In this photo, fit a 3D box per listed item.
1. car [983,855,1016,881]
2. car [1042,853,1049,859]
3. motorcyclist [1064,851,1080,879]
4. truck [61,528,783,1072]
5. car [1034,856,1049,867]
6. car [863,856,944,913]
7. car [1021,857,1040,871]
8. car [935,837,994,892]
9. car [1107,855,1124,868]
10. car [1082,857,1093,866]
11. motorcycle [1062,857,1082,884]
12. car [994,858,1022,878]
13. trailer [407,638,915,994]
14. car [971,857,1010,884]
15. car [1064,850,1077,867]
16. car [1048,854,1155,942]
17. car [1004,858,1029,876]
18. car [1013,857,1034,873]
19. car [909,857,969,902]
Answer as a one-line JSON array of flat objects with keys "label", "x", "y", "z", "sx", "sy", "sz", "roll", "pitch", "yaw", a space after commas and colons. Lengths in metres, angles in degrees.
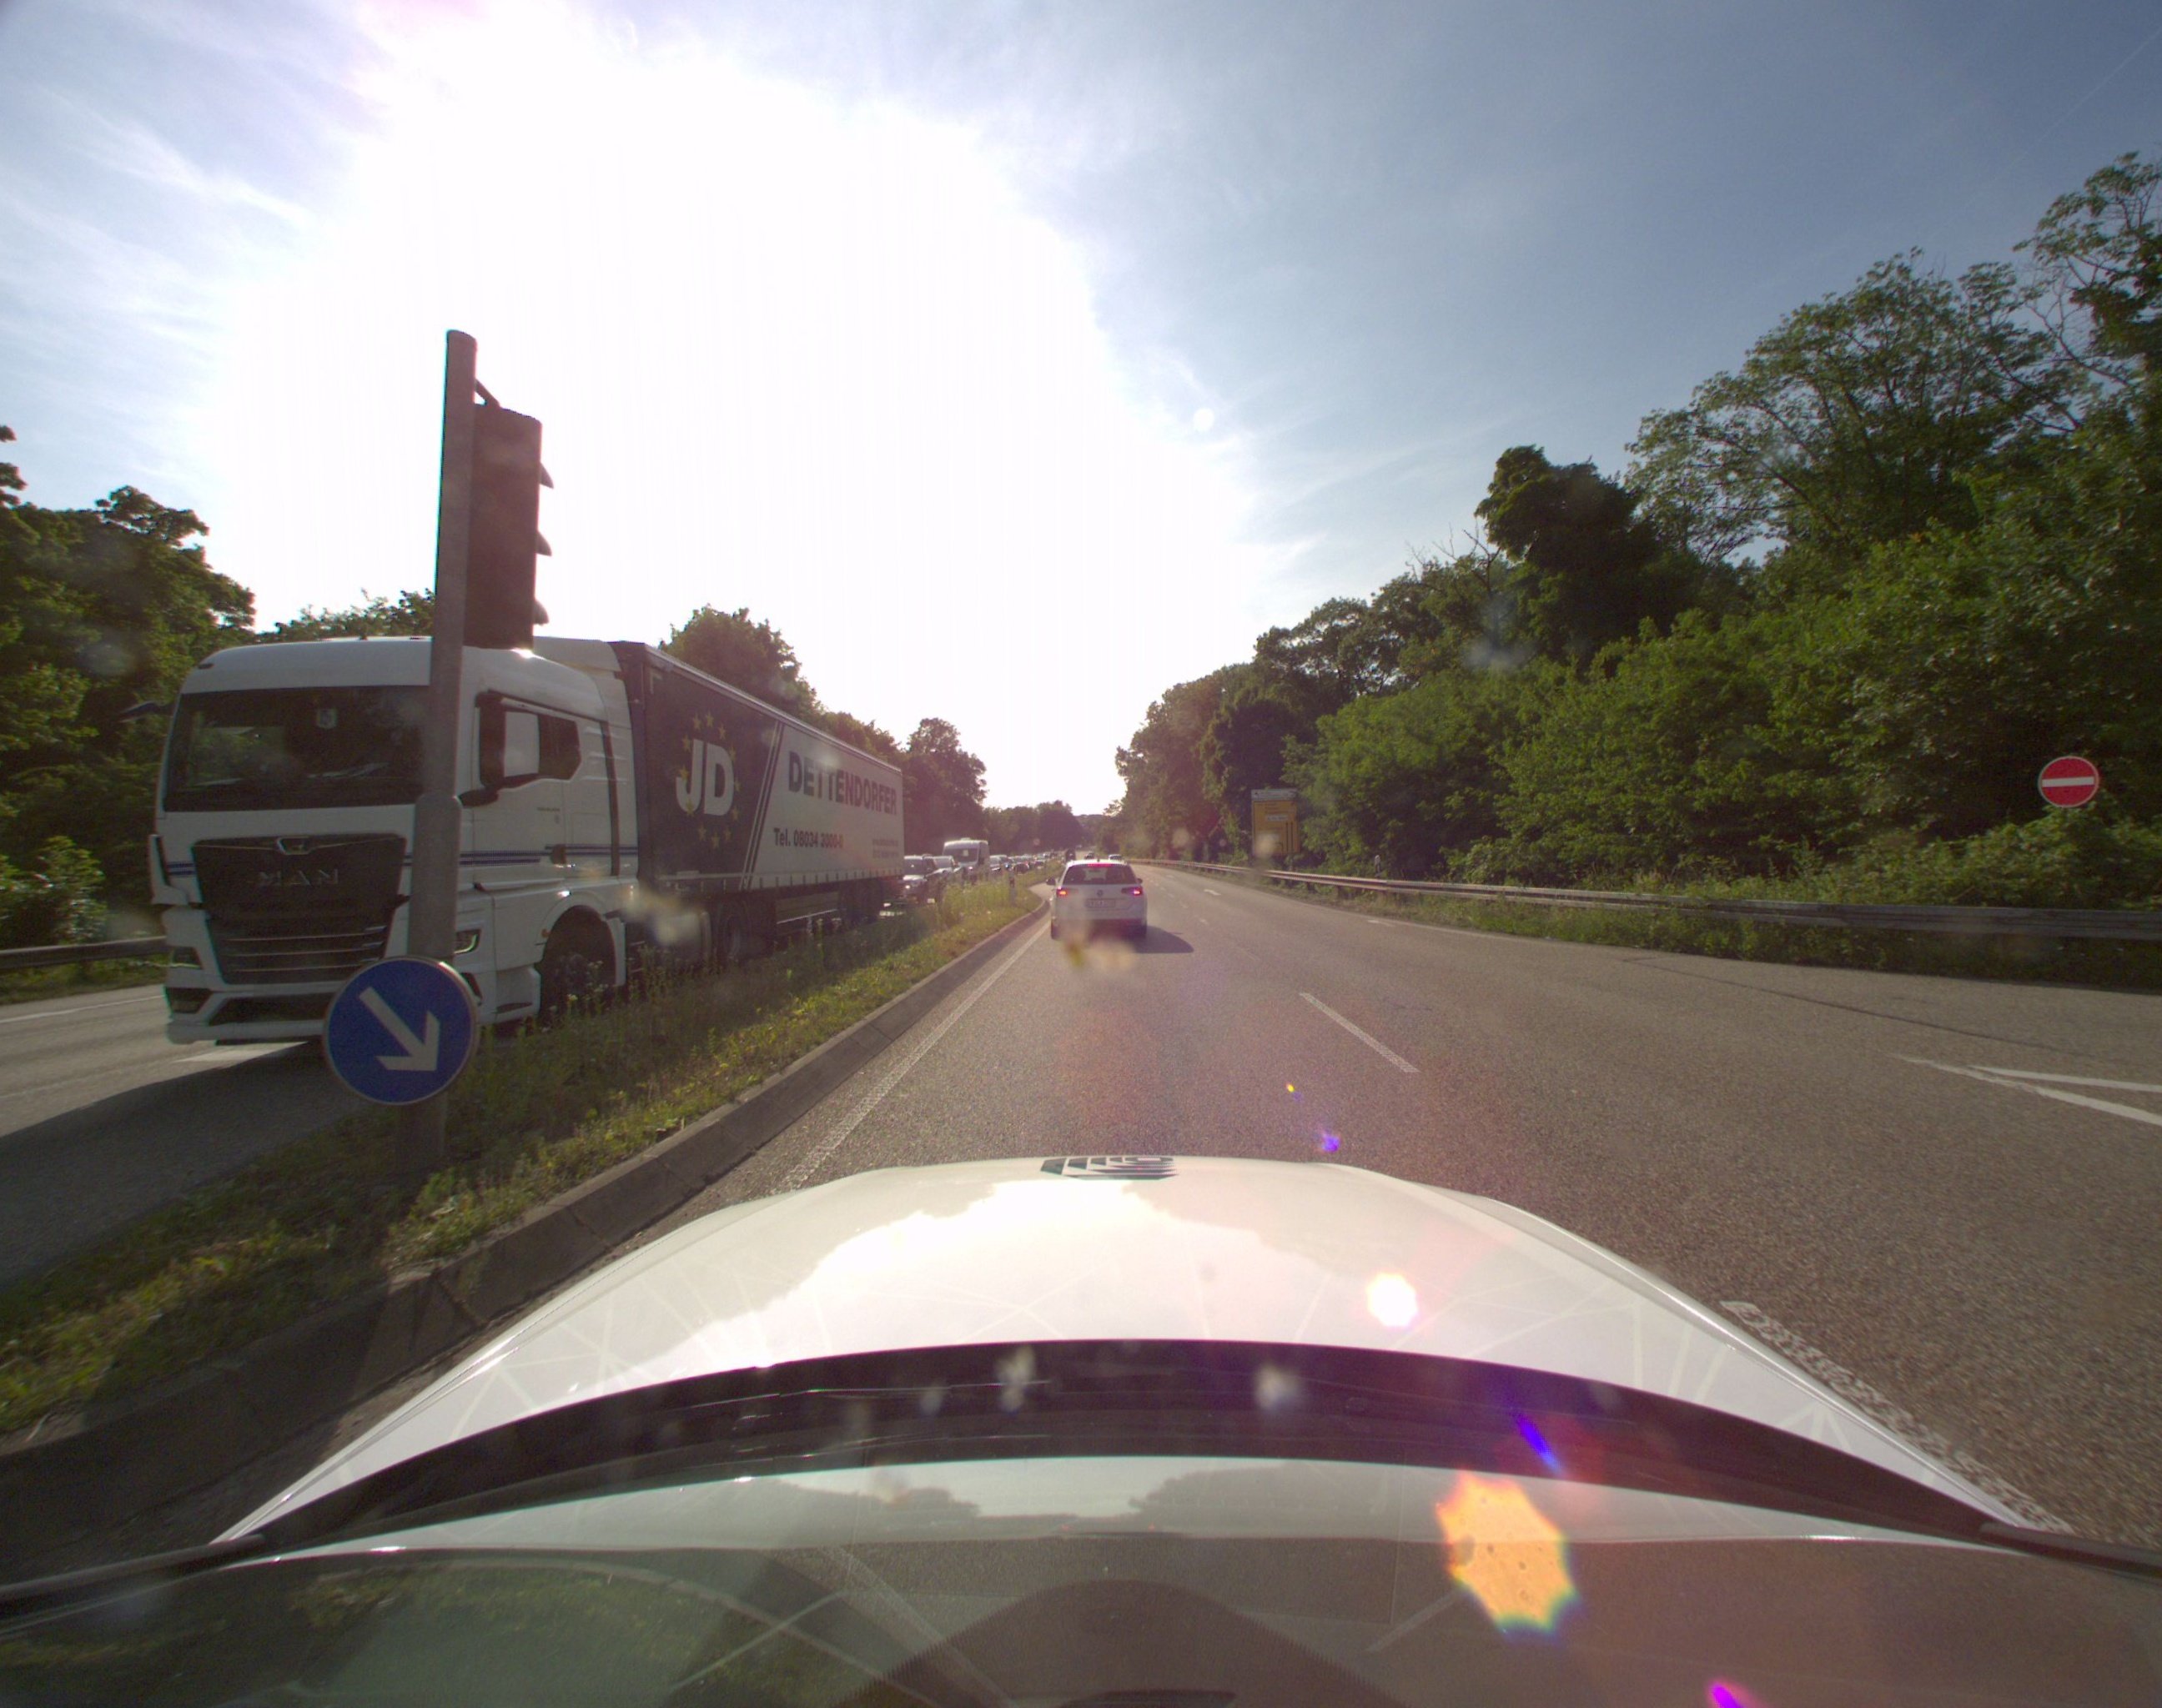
[{"label": "car", "x": -5.660, "y": 0.971, "z": 57.128, "sx": 1.765, "sy": 1.669, "sz": 4.800, "roll": -2, "pitch": 0, "yaw": 0}, {"label": "car", "x": -9.034, "y": 0.538, "z": 205.637, "sx": 1.784, "sy": 1.411, "sz": 4.223, "roll": 0, "pitch": 0, "yaw": -2}, {"label": "motorcyclist", "x": -0.528, "y": 0.620, "z": 47.637, "sx": 0.880, "sy": 1.616, "sz": 1.291, "roll": 0, "pitch": 0, "yaw": 2}, {"label": "truck", "x": -6.105, "y": -0.430, "z": 9.410, "sx": 2.883, "sy": 3.997, "sz": 6.718, "roll": -1, "pitch": 0, "yaw": -1}, {"label": "car", "x": -5.568, "y": 1.099, "z": 114.773, "sx": 1.861, "sy": 1.417, "sz": 4.415, "roll": -2, "pitch": 0, "yaw": 0}, {"label": "car", "x": -5.658, "y": 0.917, "z": 26.498, "sx": 1.695, "sy": 1.631, "sz": 4.368, "roll": -2, "pitch": 0, "yaw": -1}, {"label": "car", "x": -5.625, "y": 1.102, "z": 91.340, "sx": 1.761, "sy": 1.417, "sz": 4.434, "roll": -2, "pitch": 0, "yaw": 0}, {"label": "car", "x": -5.909, "y": 0.486, "z": 42.074, "sx": 2.068, "sy": 2.533, "sz": 6.163, "roll": -2, "pitch": 0, "yaw": 0}, {"label": "car", "x": 3.764, "y": 0.844, "z": 88.585, "sx": 1.755, "sy": 1.380, "sz": 3.972, "roll": 0, "pitch": 0, "yaw": 1}, {"label": "car", "x": 1.228, "y": 1.449, "z": 156.909, "sx": 1.741, "sy": 1.537, "sz": 3.920, "roll": 0, "pitch": 0, "yaw": -4}, {"label": "motorcycle", "x": -0.514, "y": 0.919, "z": 47.524, "sx": 0.905, "sy": 1.453, "sz": 2.690, "roll": -4, "pitch": 0, "yaw": 2}, {"label": "car", "x": -5.811, "y": 1.085, "z": 65.142, "sx": 1.765, "sy": 1.379, "sz": 4.843, "roll": -2, "pitch": 0, "yaw": 0}, {"label": "trailer", "x": -6.185, "y": -0.458, "z": 16.266, "sx": 2.982, "sy": 3.996, "sz": 14.008, "roll": -1, "pitch": 0, "yaw": -1}, {"label": "car", "x": -5.525, "y": 0.966, "z": 50.329, "sx": 1.754, "sy": 1.456, "sz": 5.185, "roll": -2, "pitch": 0, "yaw": 0}, {"label": "car", "x": -1.860, "y": 0.748, "z": 146.590, "sx": 2.202, "sy": 2.888, "sz": 7.010, "roll": -2, "pitch": 0, "yaw": 0}, {"label": "car", "x": 0.325, "y": 0.761, "z": 16.636, "sx": 1.864, "sy": 1.521, "sz": 4.832, "roll": 0, "pitch": 0, "yaw": -1}, {"label": "car", "x": -5.682, "y": 1.109, "z": 72.424, "sx": 1.765, "sy": 1.423, "sz": 5.192, "roll": -2, "pitch": 0, "yaw": 0}, {"label": "car", "x": -5.609, "y": 1.080, "z": 79.424, "sx": 1.701, "sy": 1.423, "sz": 4.211, "roll": -2, "pitch": 0, "yaw": 0}, {"label": "car", "x": -5.877, "y": 1.006, "z": 34.148, "sx": 1.695, "sy": 1.631, "sz": 4.745, "roll": -2, "pitch": 0, "yaw": -1}]
